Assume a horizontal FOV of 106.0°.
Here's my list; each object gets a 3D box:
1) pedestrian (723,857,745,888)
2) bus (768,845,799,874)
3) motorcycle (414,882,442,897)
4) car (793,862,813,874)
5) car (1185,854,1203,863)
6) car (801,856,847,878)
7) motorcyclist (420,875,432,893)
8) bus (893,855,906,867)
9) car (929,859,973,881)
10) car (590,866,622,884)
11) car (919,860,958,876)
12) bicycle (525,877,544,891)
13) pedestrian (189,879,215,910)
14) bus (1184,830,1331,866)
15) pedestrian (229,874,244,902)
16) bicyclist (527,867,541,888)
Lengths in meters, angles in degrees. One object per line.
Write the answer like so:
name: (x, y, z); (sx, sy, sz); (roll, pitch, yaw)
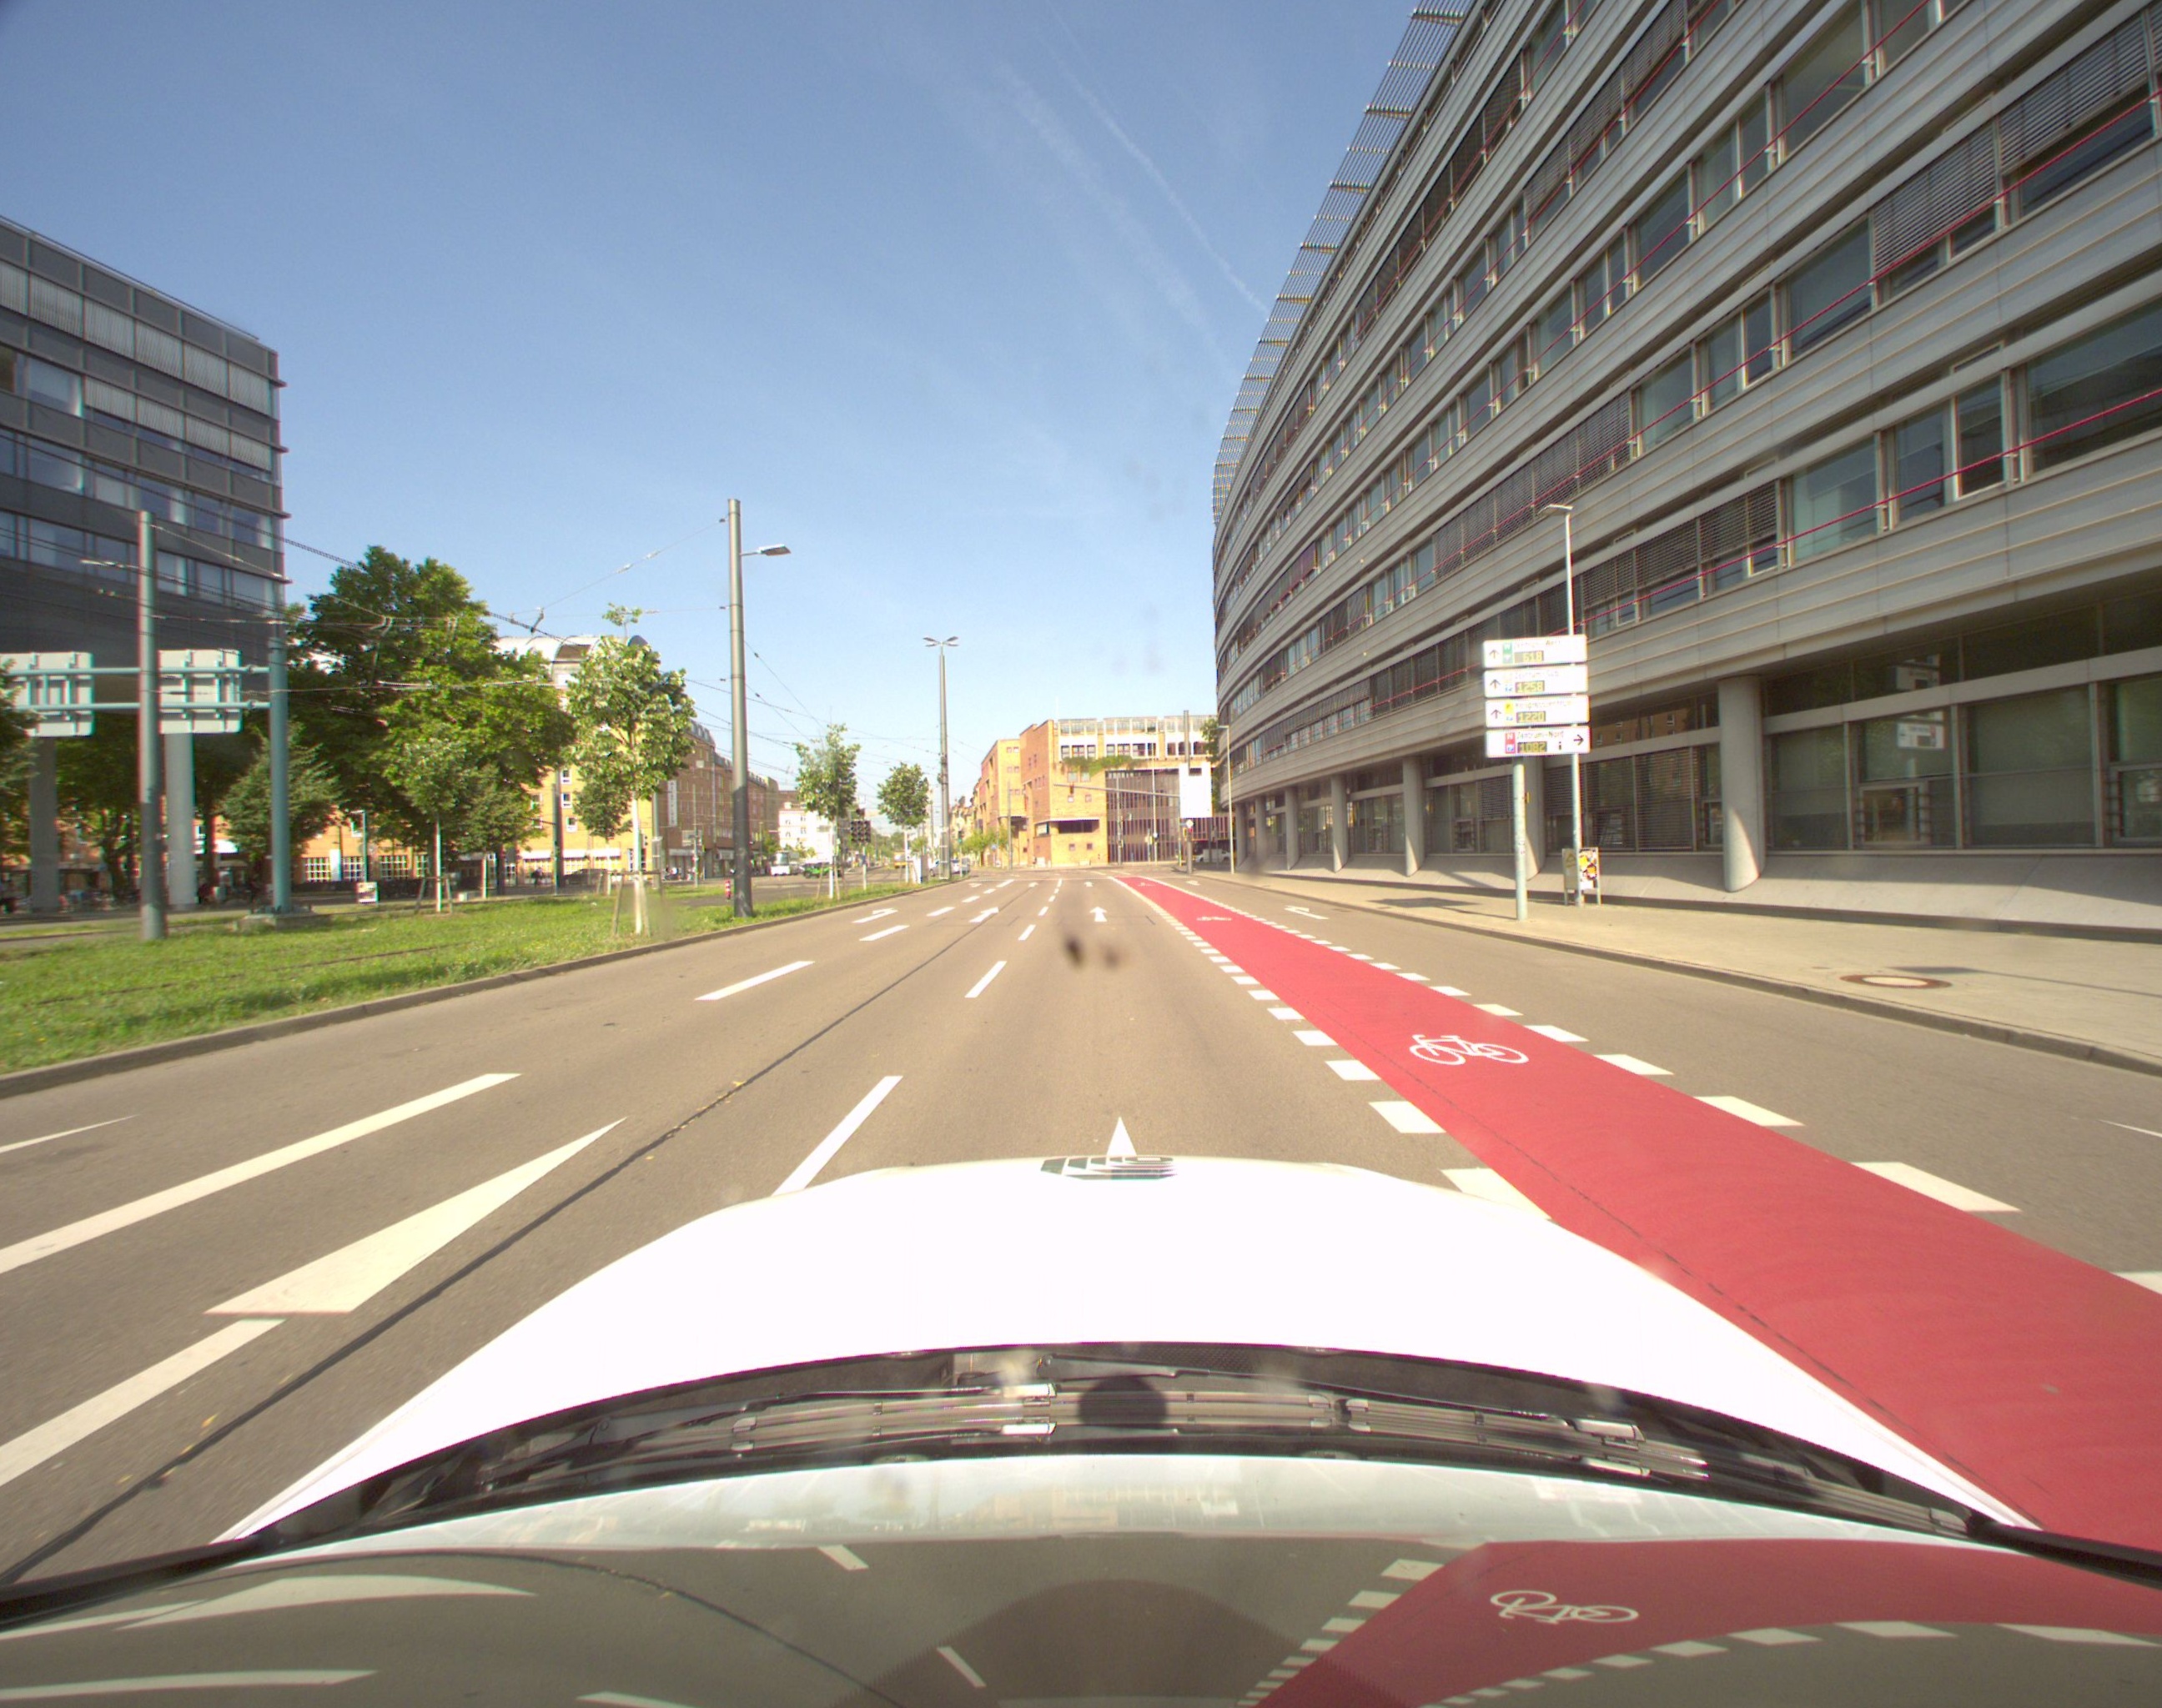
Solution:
pedestrian: (-22.906, 1.230, 53.769); (1.155, 2.014, 0.774); (-2, -2, -9)
bus: (-43.594, 0.842, 119.810); (2.750, 3.921, 12.161); (-2, 0, -13)
motorcycle: (-47.914, 2.605, 59.767); (1.689, 0.995, 0.283); (-2, -2, -9)
car: (-34.411, 1.736, 100.753); (1.707, 1.492, 3.570); (-2, 0, -29)
car: (12.993, 0.544, 93.451); (1.945, 0.958, 1.093); (0, -3, -1)
car: (-25.202, 1.251, 79.787); (3.950, 2.014, 2.012); (-3, -2, 26)
motorcyclist: (-48.068, 2.196, 59.765); (0.530, 1.322, 0.417); (-2, -2, -9)
bus: (-34.378, 1.320, 154.094); (1.999, 2.013, 3.976); (-2, 0, -18)
car: (-11.074, 1.376, 69.294); (3.841, 1.755, 1.721); (-3, -2, 43)
car: (-49.821, 2.225, 85.402); (2.011, 1.678, 3.950); (0, -2, -44)
car: (-14.108, 1.386, 80.421); (3.404, 1.542, 1.745); (-3, -2, 27)
bicycle: (-47.774, 2.605, 71.233); (0.548, 1.206, 2.278); (-1, -2, -11)
pedestrian: (-45.646, 2.098, 42.288); (0.612, 1.543, 0.666); (-2, 0, 17)
bus: (21.468, -0.713, 98.908); (17.607, 3.811, 2.855); (-2, -2, -10)
pedestrian: (-60.684, 2.444, 58.503); (0.489, 2.014, 0.538); (-2, -2, -8)
bicyclist: (-47.756, 2.053, 71.121); (0.665, 1.747, 0.963); (-1, -2, -12)
